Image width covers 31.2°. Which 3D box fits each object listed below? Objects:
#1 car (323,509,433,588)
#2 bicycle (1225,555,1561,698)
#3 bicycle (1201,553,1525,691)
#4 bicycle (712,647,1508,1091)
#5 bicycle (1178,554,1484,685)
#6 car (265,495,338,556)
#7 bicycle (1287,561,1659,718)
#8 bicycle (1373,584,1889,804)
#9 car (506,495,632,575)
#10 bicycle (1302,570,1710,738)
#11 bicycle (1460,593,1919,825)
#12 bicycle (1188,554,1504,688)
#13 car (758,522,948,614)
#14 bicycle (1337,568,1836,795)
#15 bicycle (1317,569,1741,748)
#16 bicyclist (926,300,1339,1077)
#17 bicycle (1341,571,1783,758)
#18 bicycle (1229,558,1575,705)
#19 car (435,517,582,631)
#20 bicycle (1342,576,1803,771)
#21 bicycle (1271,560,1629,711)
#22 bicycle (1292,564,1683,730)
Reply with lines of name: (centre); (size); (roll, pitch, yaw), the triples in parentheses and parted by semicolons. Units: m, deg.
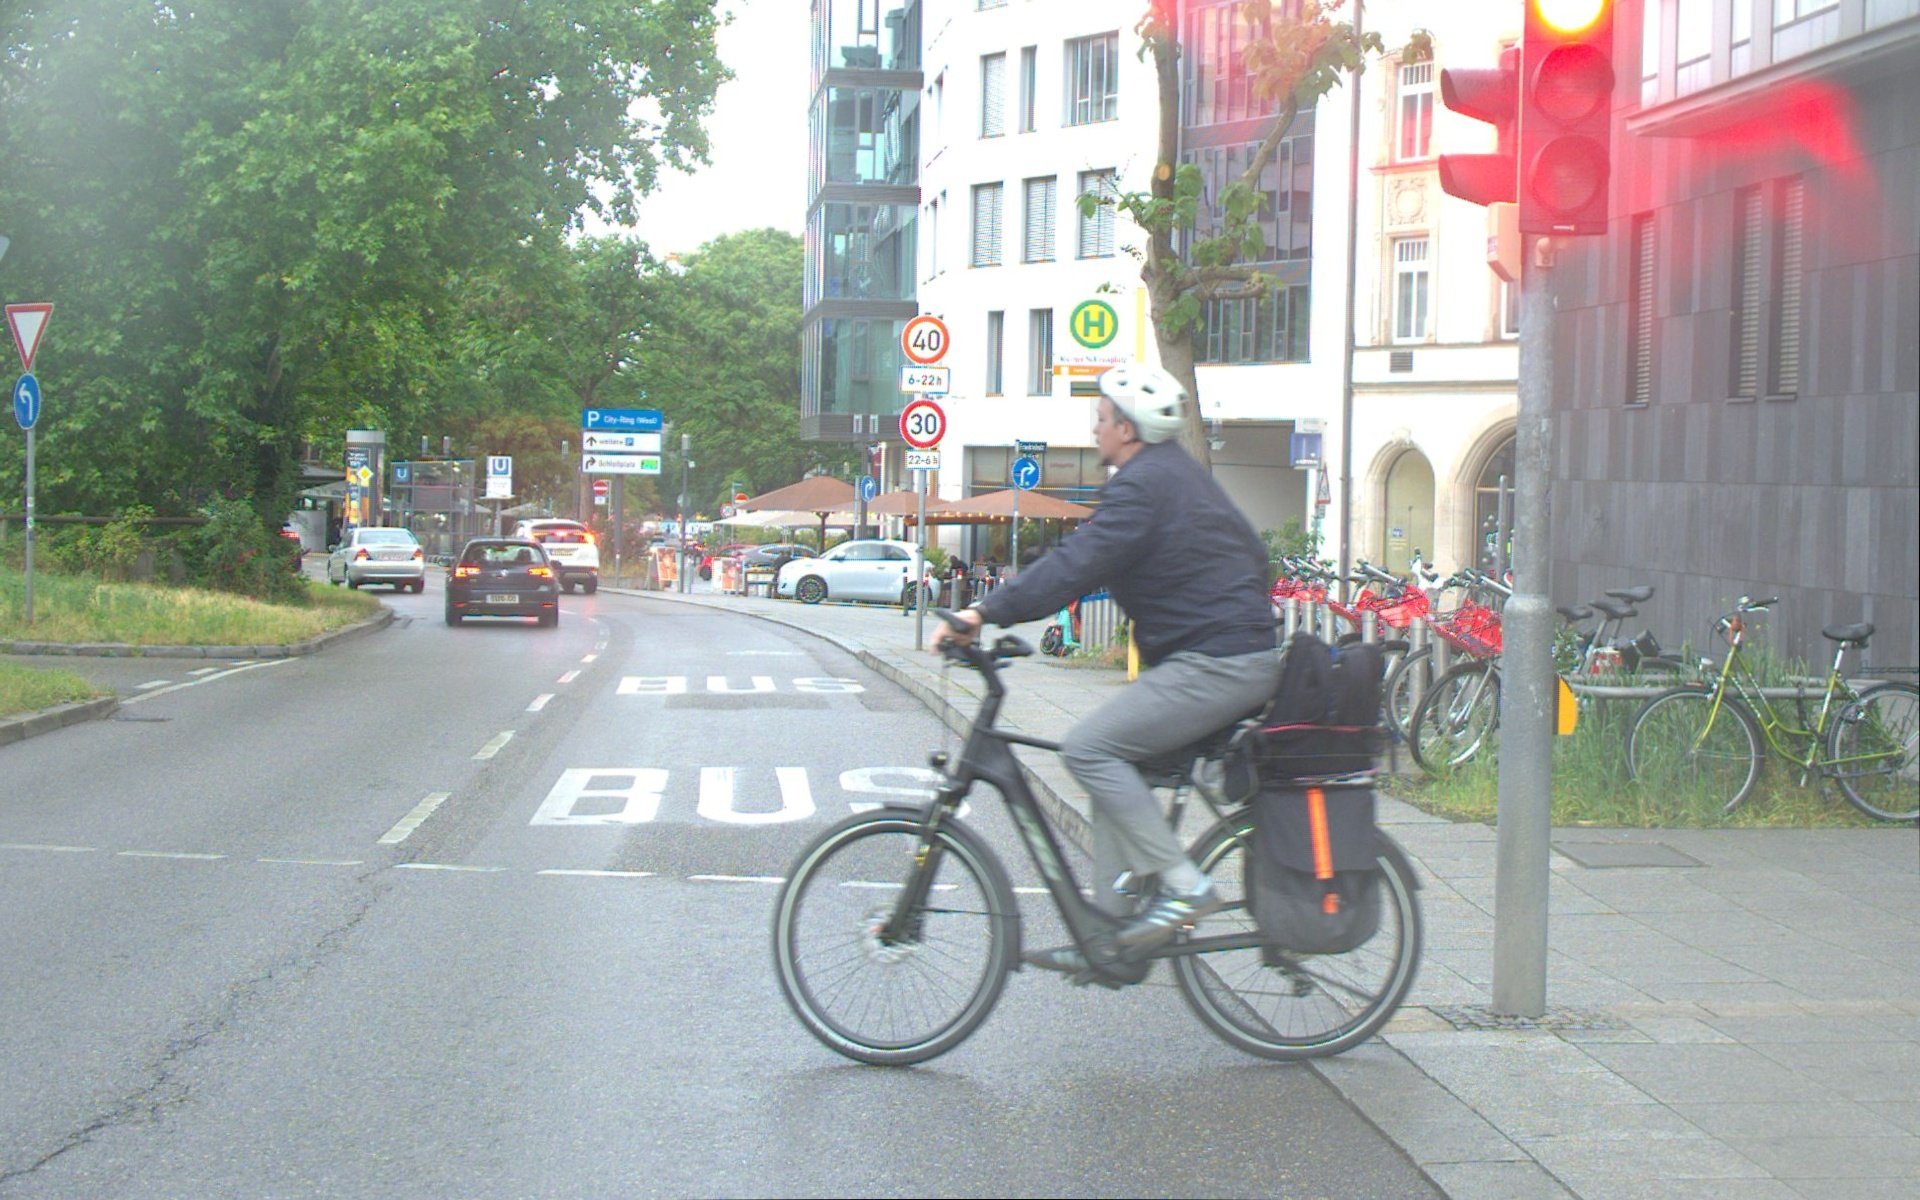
car: (-12.937, -1.161, 76.238); (1.944, 1.641, 4.246); (1, 1, -16)
bicycle: (3.416, 0.206, 27.210); (2.535, 1.083, 0.677); (1, 1, -5)
bicycle: (3.281, 0.175, 28.099); (2.535, 1.083, 0.677); (1, 1, -5)
bicycle: (0.414, 0.726, 9.636); (2.126, 1.141, 0.763); (1, 1, 2)
bicycle: (3.180, 0.166, 29.568); (2.535, 1.083, 0.627); (1, 1, -5)
car: (-18.714, -2.129, 97.709); (1.944, 1.641, 4.001); (1, 1, -11)
bicycle: (3.663, 0.279, 24.641); (2.535, 1.083, 0.677); (1, 1, -5)
bicycle: (3.490, 0.486, 17.976); (2.535, 1.083, 0.677); (1, 1, -5)
car: (-8.899, -1.492, 77.960); (2.178, 1.695, 4.002); (1, 1, -16)
bicycle: (3.567, 0.349, 22.536); (2.535, 1.056, 0.677); (1, 1, -5)
bicycle: (3.736, 0.518, 16.500); (2.535, 1.053, 0.677); (1, 1, -5)
bicycle: (3.225, 0.172, 28.846); (2.535, 1.083, 0.677); (1, 1, -5)
car: (-2.401, -0.725, 76.575); (3.986, 1.641, 2.000); (5, 1, -5)
bicycle: (3.404, 0.440, 18.779); (2.535, 1.083, 0.677); (3, 1, -5)
bicycle: (3.571, 0.364, 21.669); (2.535, 1.083, 0.677); (1, 1, -5)
bicyclist: (0.477, 0.232, 9.628); (1.081, 2.076, 0.763); (1, 1, 2)
bicycle: (3.638, 0.386, 20.859); (2.535, 1.083, 0.677); (1, 1, -5)
bicycle: (3.390, 0.236, 26.458); (2.535, 1.083, 0.677); (1, 1, -5)
car: (-7.362, -0.454, 55.750); (2.161, 1.700, 4.555); (1, 1, -9)
bicycle: (3.549, 0.421, 20.005); (2.535, 1.083, 0.677); (1, 1, -5)
bicycle: (3.640, 0.258, 25.619); (2.535, 1.083, 0.677); (1, 1, -5)
bicycle: (3.585, 0.316, 23.445); (2.535, 1.083, 0.677); (1, 1, -5)
